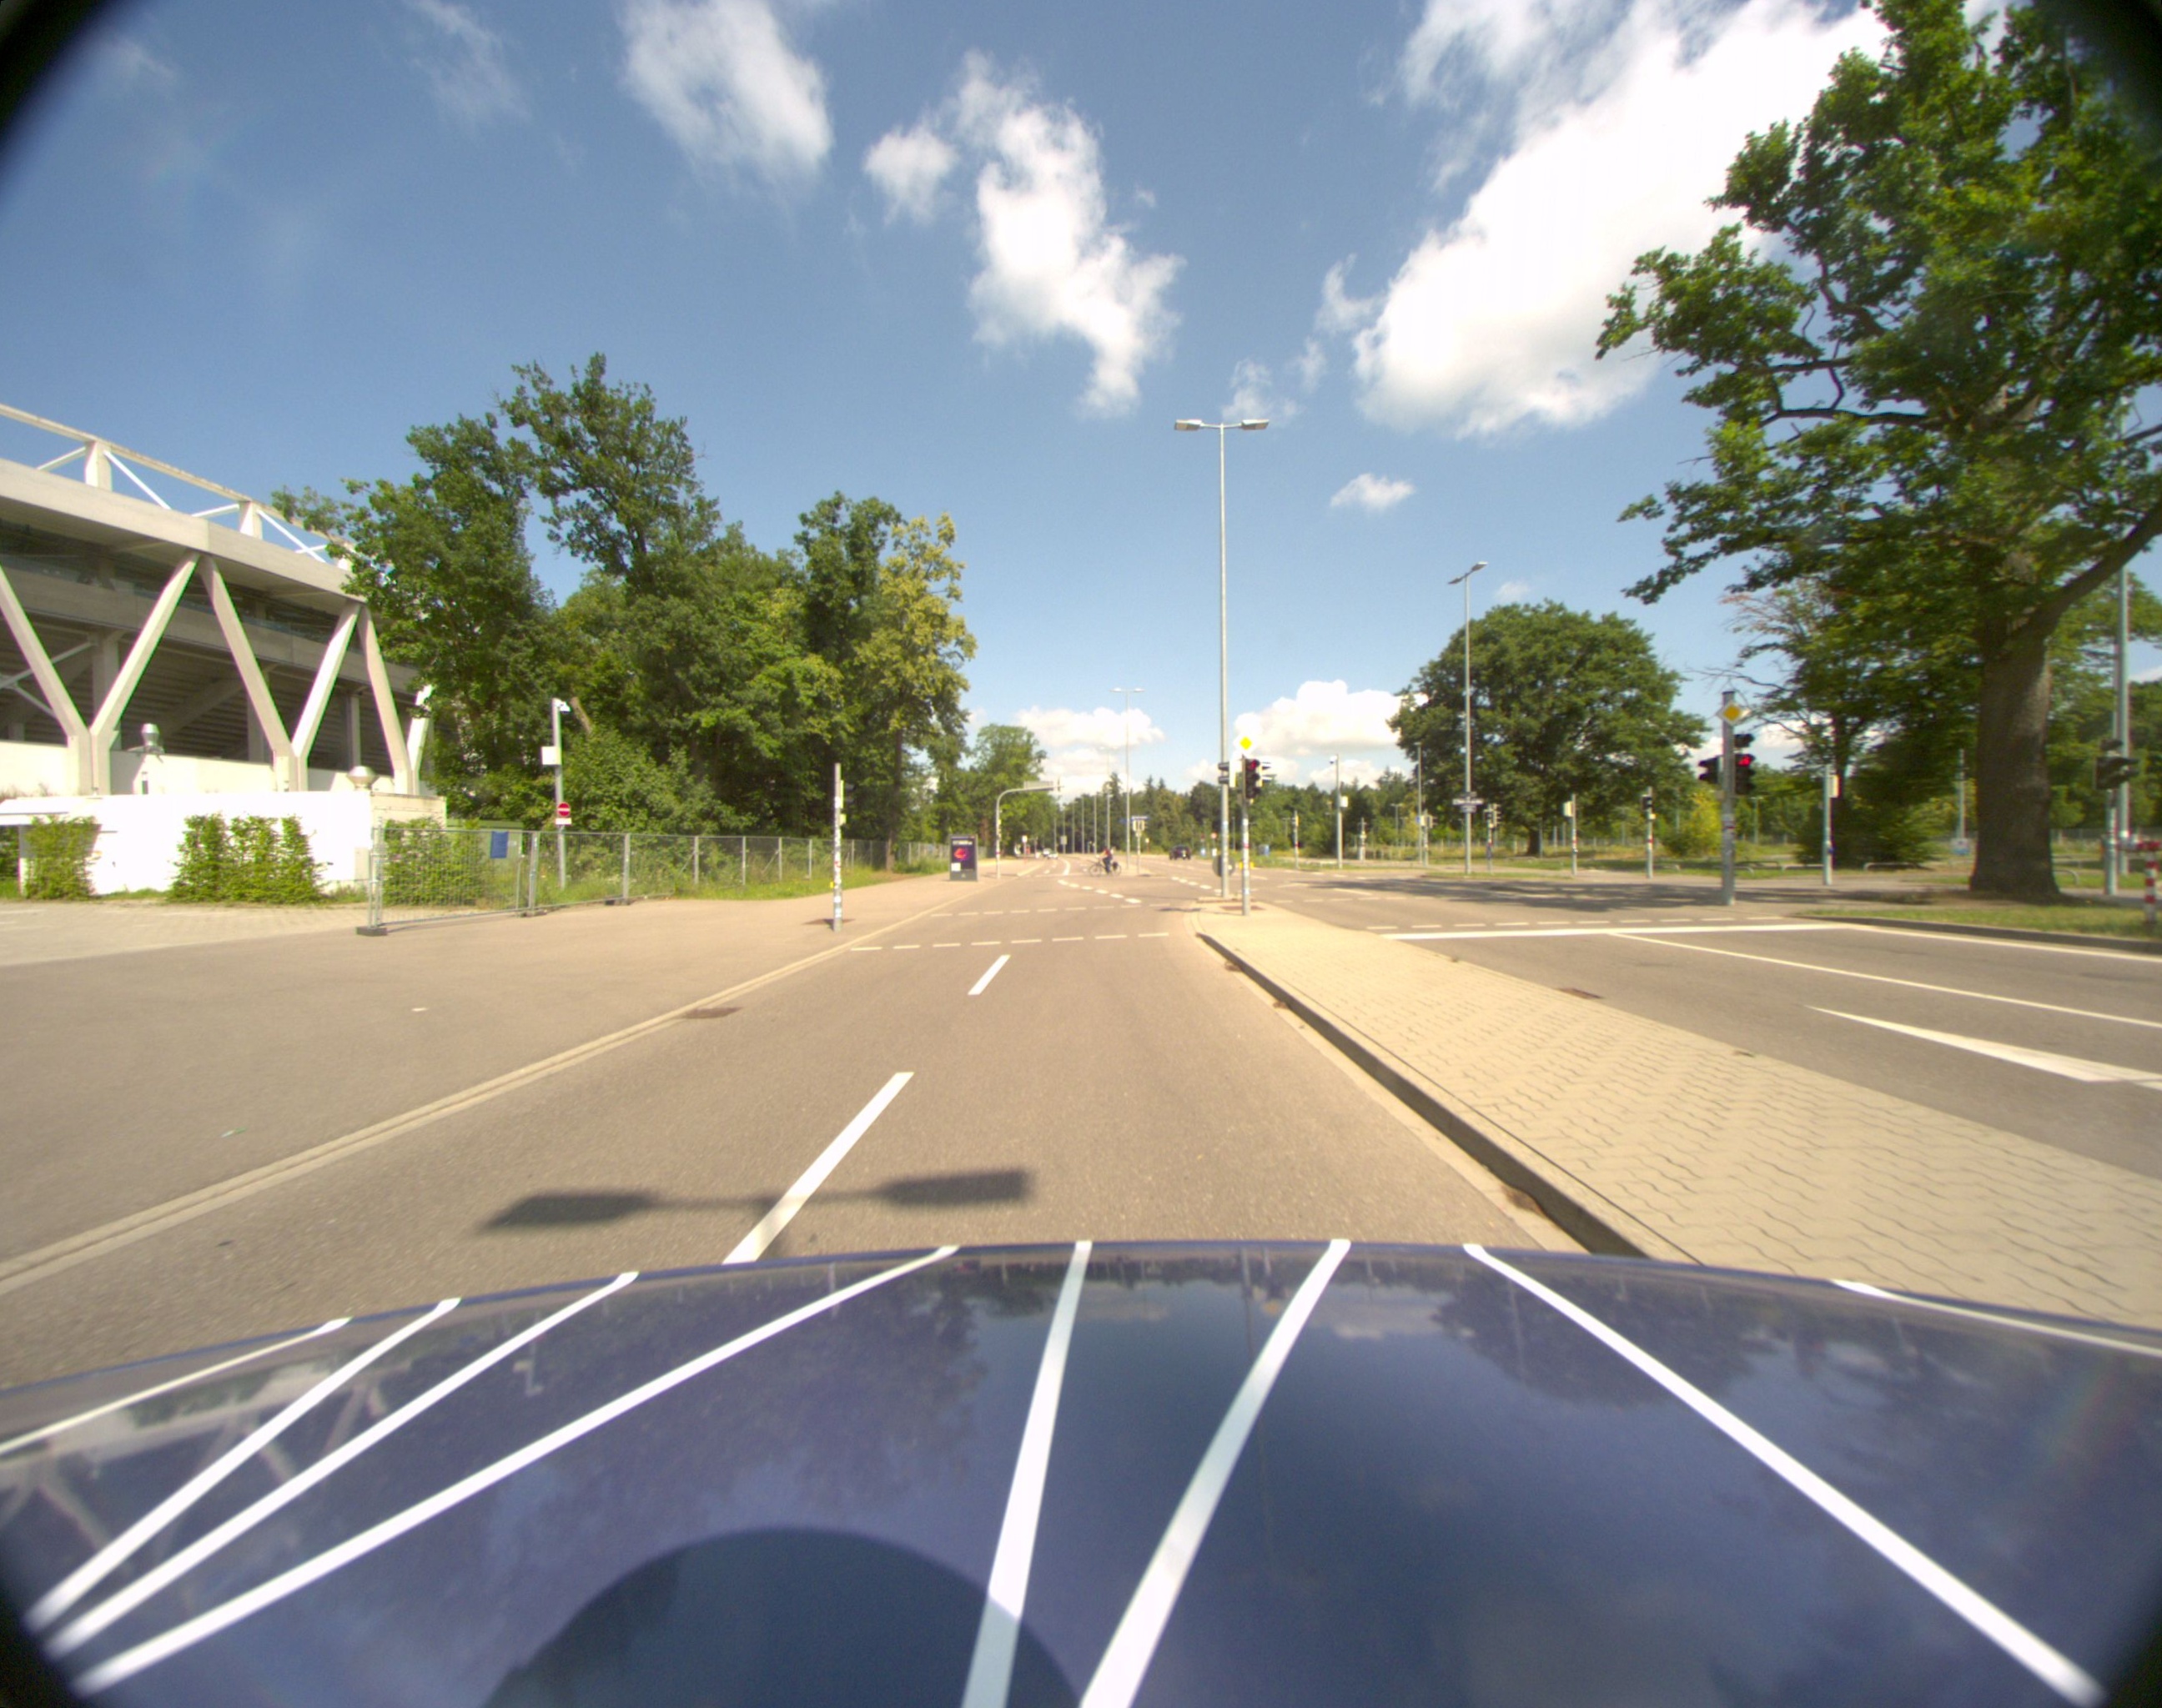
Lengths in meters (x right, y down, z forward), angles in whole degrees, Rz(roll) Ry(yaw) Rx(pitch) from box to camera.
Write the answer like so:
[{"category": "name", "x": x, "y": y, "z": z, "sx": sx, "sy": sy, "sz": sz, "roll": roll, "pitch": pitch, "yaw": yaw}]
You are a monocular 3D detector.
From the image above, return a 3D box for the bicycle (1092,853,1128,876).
[{"category": "bicycle", "x": 1.662, "y": 0.588, "z": 43.595, "sx": 1.897, "sy": 1.199, "sz": 0.882, "roll": -2, "pitch": 1, "yaw": -10}]

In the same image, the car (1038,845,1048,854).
[{"category": "car", "x": -6.533, "y": -0.798, "z": 132.026, "sx": 1.580, "sy": 1.471, "sz": 3.569, "roll": -2, "pitch": 1, "yaw": -2}]

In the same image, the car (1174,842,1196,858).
[{"category": "car", "x": 12.441, "y": -0.503, "z": 91.274, "sx": 1.980, "sy": 1.754, "sz": 4.707, "roll": -2, "pitch": 0, "yaw": 1}]

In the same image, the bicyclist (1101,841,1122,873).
[{"category": "bicyclist", "x": 1.724, "y": 0.167, "z": 43.585, "sx": 0.979, "sy": 1.787, "sz": 0.886, "roll": -2, "pitch": 2, "yaw": -11}]

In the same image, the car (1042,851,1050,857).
[{"category": "car", "x": -8.338, "y": -0.023, "z": 181.203, "sx": 1.580, "sy": 1.471, "sz": 3.569, "roll": -2, "pitch": 1, "yaw": -2}]

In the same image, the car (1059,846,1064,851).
[{"category": "car", "x": -5.887, "y": -1.786, "z": 229.592, "sx": 1.580, "sy": 1.471, "sz": 3.569, "roll": -2, "pitch": 1, "yaw": -2}]
